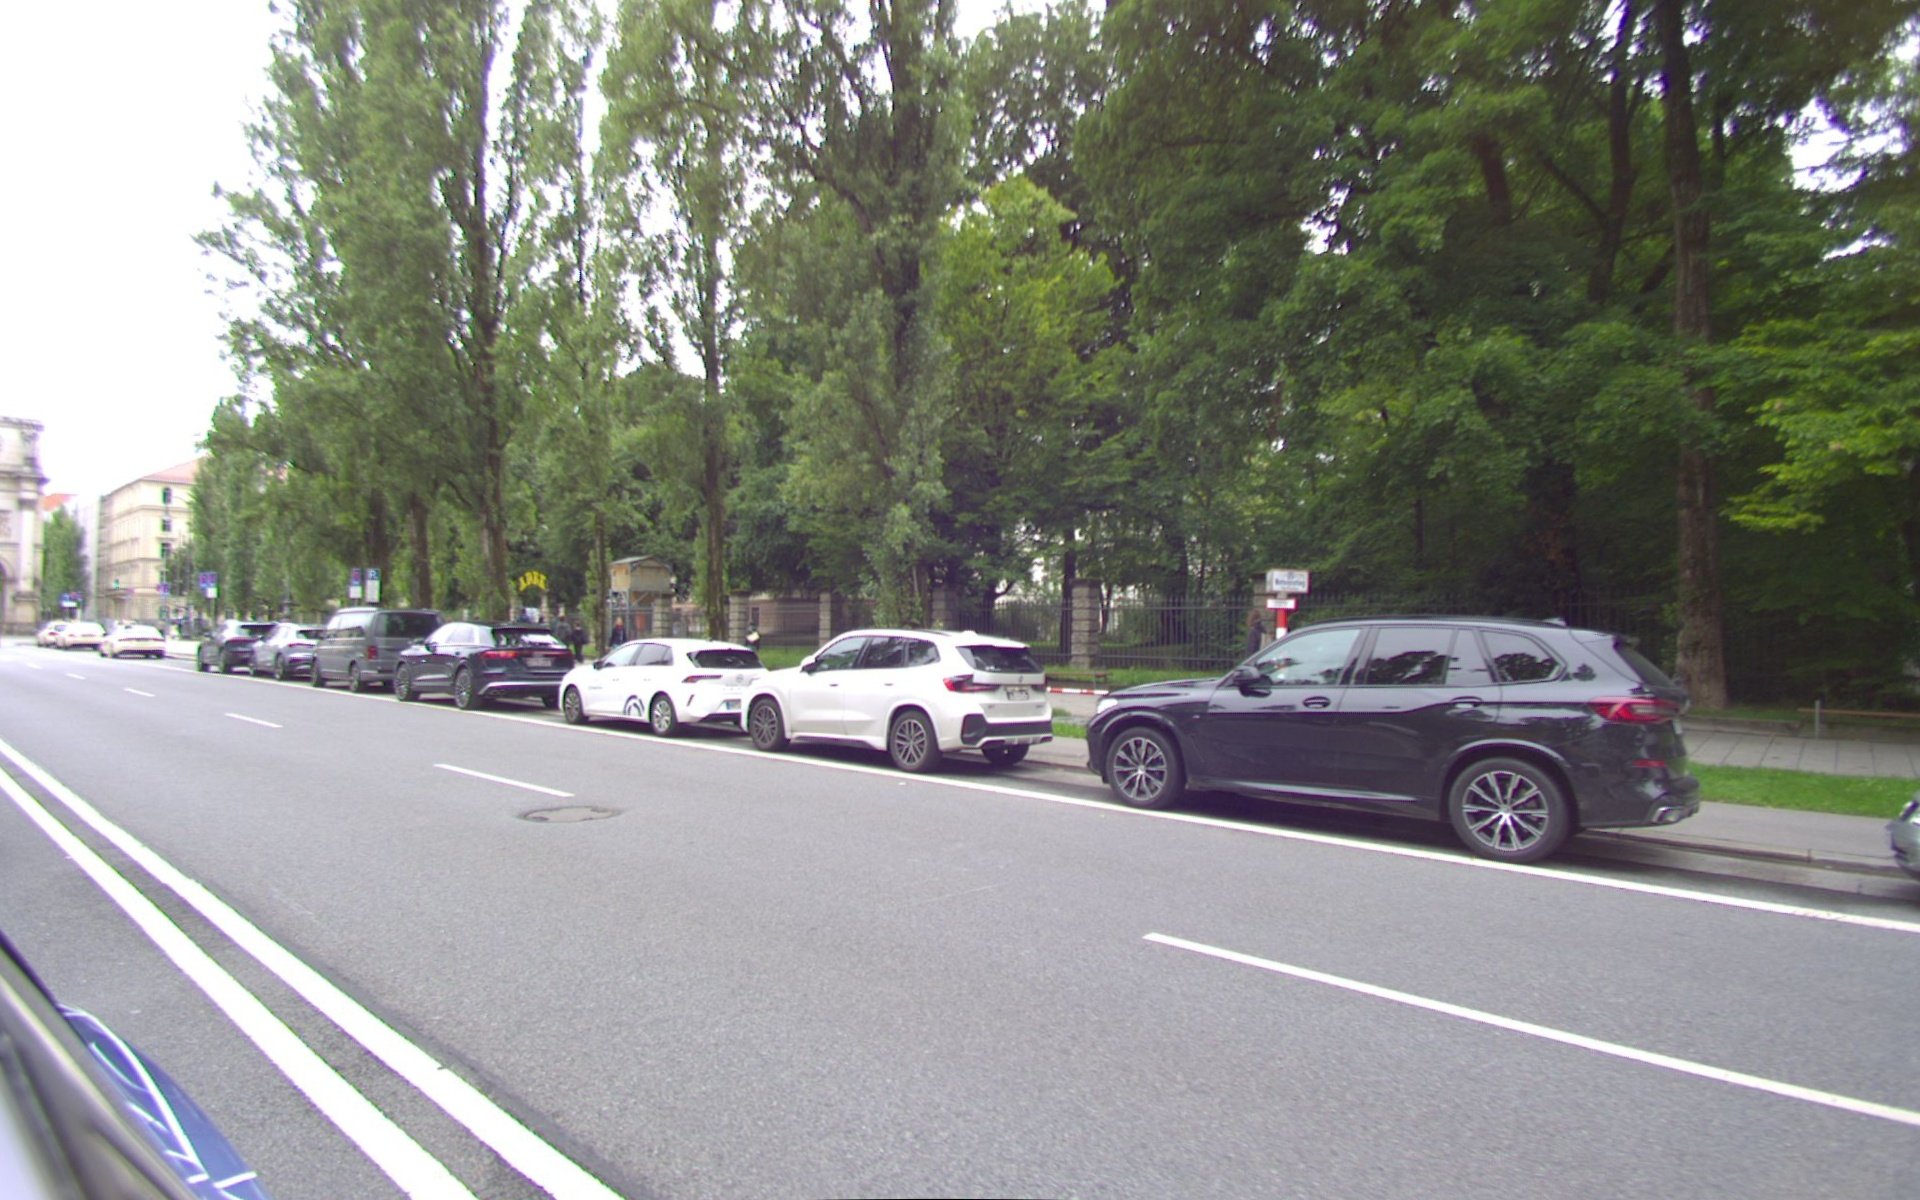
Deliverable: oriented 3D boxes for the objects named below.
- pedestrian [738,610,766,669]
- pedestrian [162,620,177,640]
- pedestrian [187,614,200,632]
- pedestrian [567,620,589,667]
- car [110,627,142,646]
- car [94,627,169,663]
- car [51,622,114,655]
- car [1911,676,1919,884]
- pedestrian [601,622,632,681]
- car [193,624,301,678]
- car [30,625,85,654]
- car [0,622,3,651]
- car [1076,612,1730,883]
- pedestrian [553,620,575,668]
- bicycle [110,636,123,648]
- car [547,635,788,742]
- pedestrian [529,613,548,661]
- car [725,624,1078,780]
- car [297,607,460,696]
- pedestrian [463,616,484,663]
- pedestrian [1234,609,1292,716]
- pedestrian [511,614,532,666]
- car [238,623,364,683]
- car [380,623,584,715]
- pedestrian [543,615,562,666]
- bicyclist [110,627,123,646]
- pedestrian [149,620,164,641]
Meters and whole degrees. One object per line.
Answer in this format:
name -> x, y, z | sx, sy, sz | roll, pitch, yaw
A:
pedestrian -> -6.258, 1.182, 30.420 | 0.672, 1.761, 0.544 | -1, -1, 41
pedestrian -> -66.653, 2.560, 85.366 | 0.833, 1.691, 0.969 | 1, -2, -31
pedestrian -> -83.626, 2.522, 110.419 | 0.747, 2.029, 0.793 | 0, -2, 7
pedestrian -> -13.740, 1.561, 36.391 | 0.532, 1.682, 0.544 | -1, -1, 41
car -> -88.337, 3.826, 107.124 | 4.991, 1.869, 1.977 | 0, -3, 44
car -> -36.867, 1.981, 45.013 | 4.790, 1.509, 1.910 | -2, -3, 43
car -> -47.336, 2.075, 54.566 | 4.963, 1.637, 1.917 | 0, -2, 42
car -> 7.485, 1.105, 4.977 | 4.028, 1.314, 1.563 | -1, -4, 43
pedestrian -> -10.305, 1.526, 30.384 | 0.786, 1.733, 0.576 | -1, -2, 40
car -> -22.842, 1.611, 32.345 | 4.612, 1.608, 1.763 | -1, -4, 42
car -> -52.937, 2.315, 59.359 | 4.857, 1.571, 1.799 | -1, -4, 42
car -> -56.493, 2.067, 58.149 | 4.111, 1.669, 1.766 | -1, -3, 41
car -> 3.469, 1.012, 8.541 | 4.715, 1.671, 1.860 | -1, -5, 41
pedestrian -> -14.065, 1.552, 35.945 | 0.532, 1.714, 0.544 | -1, -1, 41
bicycle -> -68.324, 3.402, 81.964 | 0.699, 0.946, 1.737 | 1, -1, -43
car -> -4.736, 1.314, 16.069 | 4.236, 1.433, 1.658 | -1, -3, 42
pedestrian -> -16.287, 1.431, 39.087 | 0.611, 1.849, 0.429 | -1, -2, 41
car -> -0.868, 1.145, 12.599 | 4.460, 1.600, 1.766 | -2, -4, 43
car -> -14.402, 1.235, 24.932 | 4.935, 1.971, 1.972 | -1, -4, 42
pedestrian -> -18.216, 1.476, 37.903 | 0.532, 1.761, 0.544 | -1, -1, 41
pedestrian -> 5.358, 1.082, 17.901 | 0.775, 1.829, 0.633 | -1, -2, 42
pedestrian -> -16.795, 1.531, 38.759 | 0.532, 1.974, 0.544 | -1, -1, 41
car -> -19.205, 1.498, 29.419 | 4.652, 1.596, 1.870 | -1, -3, 42
car -> -9.671, 1.311, 20.262 | 5.051, 1.621, 1.796 | -1, -4, 42
pedestrian -> -16.023, 1.592, 39.792 | 0.532, 1.974, 0.544 | -1, -1, 41
bicyclist -> -68.355, 2.968, 82.008 | 0.685, 1.510, 0.862 | 2, -3, -44
pedestrian -> -67.458, 2.559, 84.989 | 0.833, 1.691, 0.969 | 1, -2, -31
